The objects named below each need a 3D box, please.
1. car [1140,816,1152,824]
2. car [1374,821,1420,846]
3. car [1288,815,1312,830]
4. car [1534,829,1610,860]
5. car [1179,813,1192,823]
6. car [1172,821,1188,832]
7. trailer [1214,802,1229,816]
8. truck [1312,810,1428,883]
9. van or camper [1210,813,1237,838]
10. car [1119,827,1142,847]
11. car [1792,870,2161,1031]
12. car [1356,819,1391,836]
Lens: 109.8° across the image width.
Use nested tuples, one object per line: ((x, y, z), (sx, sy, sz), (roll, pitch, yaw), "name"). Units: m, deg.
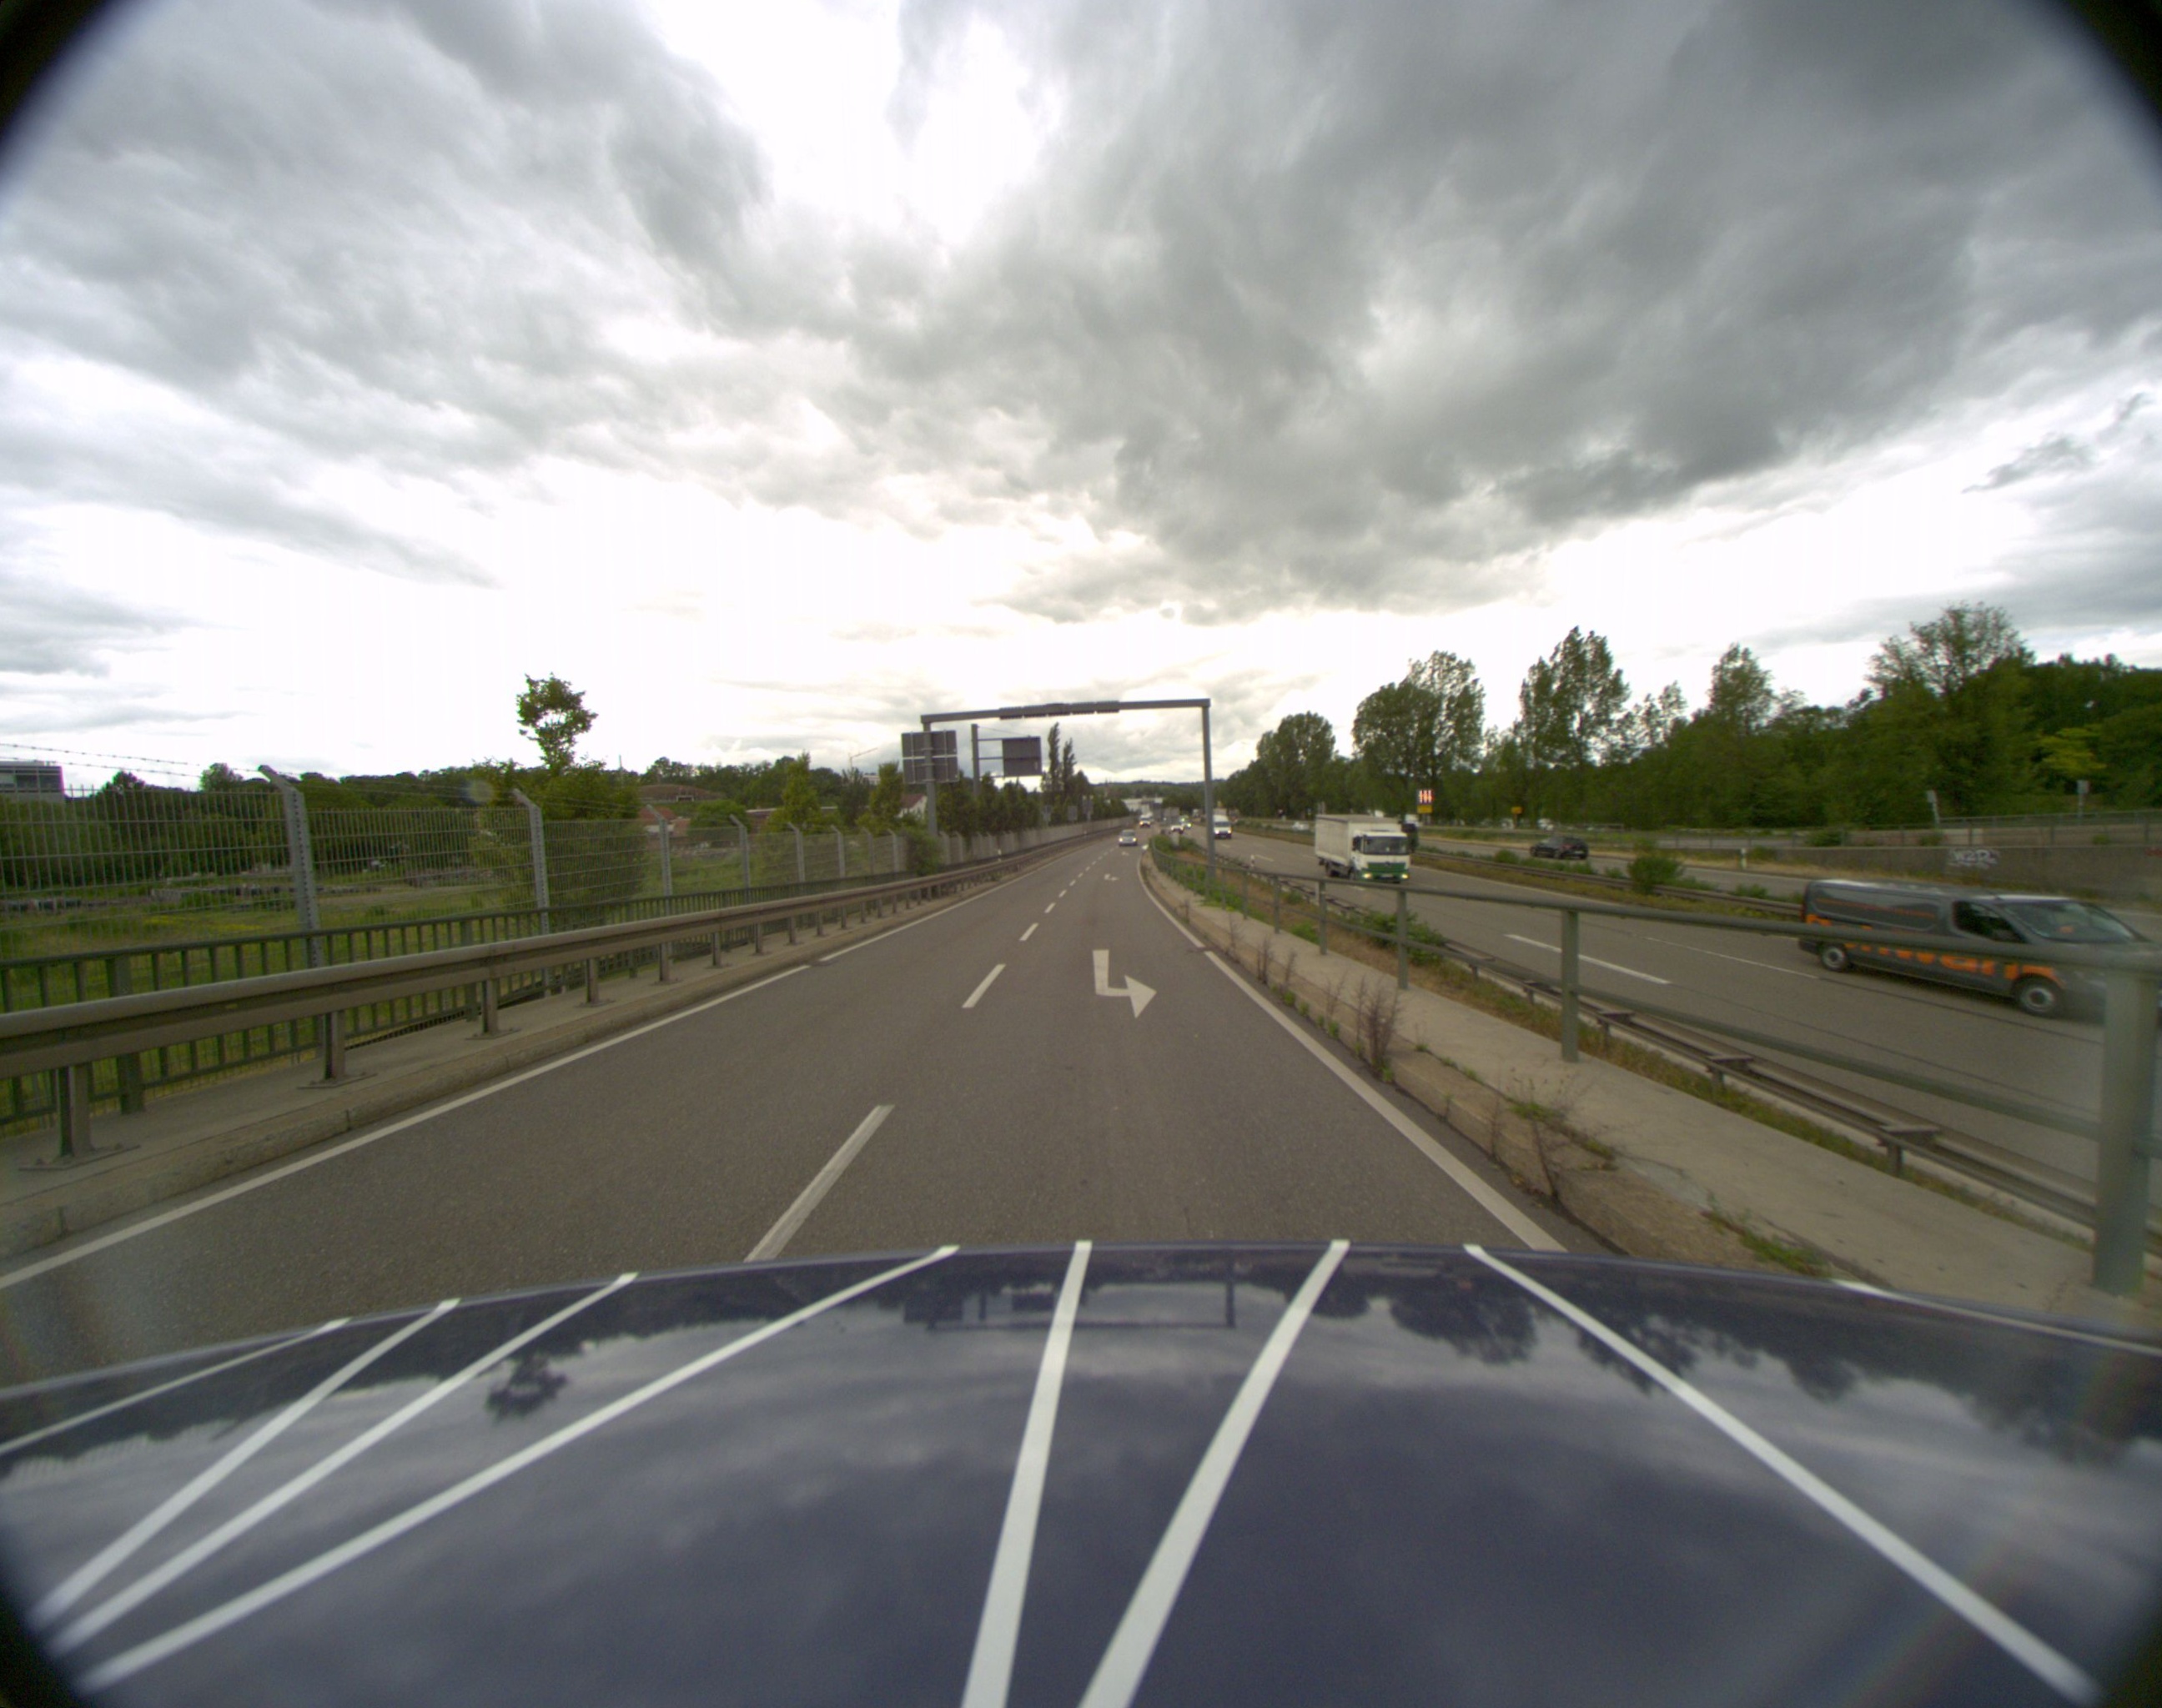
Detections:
((13.072, -6.788, 152.791), (1.998, 1.587, 3.998), (-1, 3, 0), "car")
((27.861, -1.857, 67.109), (2.097, 1.978, 5.113), (-1, 4, 2), "car")
((29.607, -4.243, 103.026), (1.998, 1.684, 4.698), (-1, 7, 1), "car")
((31.024, -0.643, 48.202), (1.998, 1.683, 4.701), (-1, 4, 3), "car")
((19.017, -6.568, 138.253), (1.998, 1.736, 3.998), (-1, 3, 2), "car")
((13.783, -3.873, 106.031), (1.998, 1.392, 4.000), (-1, 3, 6), "car")
((43.718, -14.100, 237.084), (2.796, 3.928, 13.507), (-3, 4, 4), "trailer")
((14.185, -0.545, 38.054), (3.039, 3.142, 7.563), (-1, 4, 1), "truck")
((16.287, -3.330, 87.169), (2.209, 2.590, 6.325), (-2, 4, 3), "van or camper")
((5.051, -1.725, 77.675), (1.997, 2.002, 4.003), (0, 0, 9), "car")
((17.144, 1.566, 14.507), (2.099, 2.003, 5.335), (-1, 4, 1), "car")
((31.521, -2.889, 81.963), (1.998, 1.711, 4.700), (-1, 4, 0), "car")
